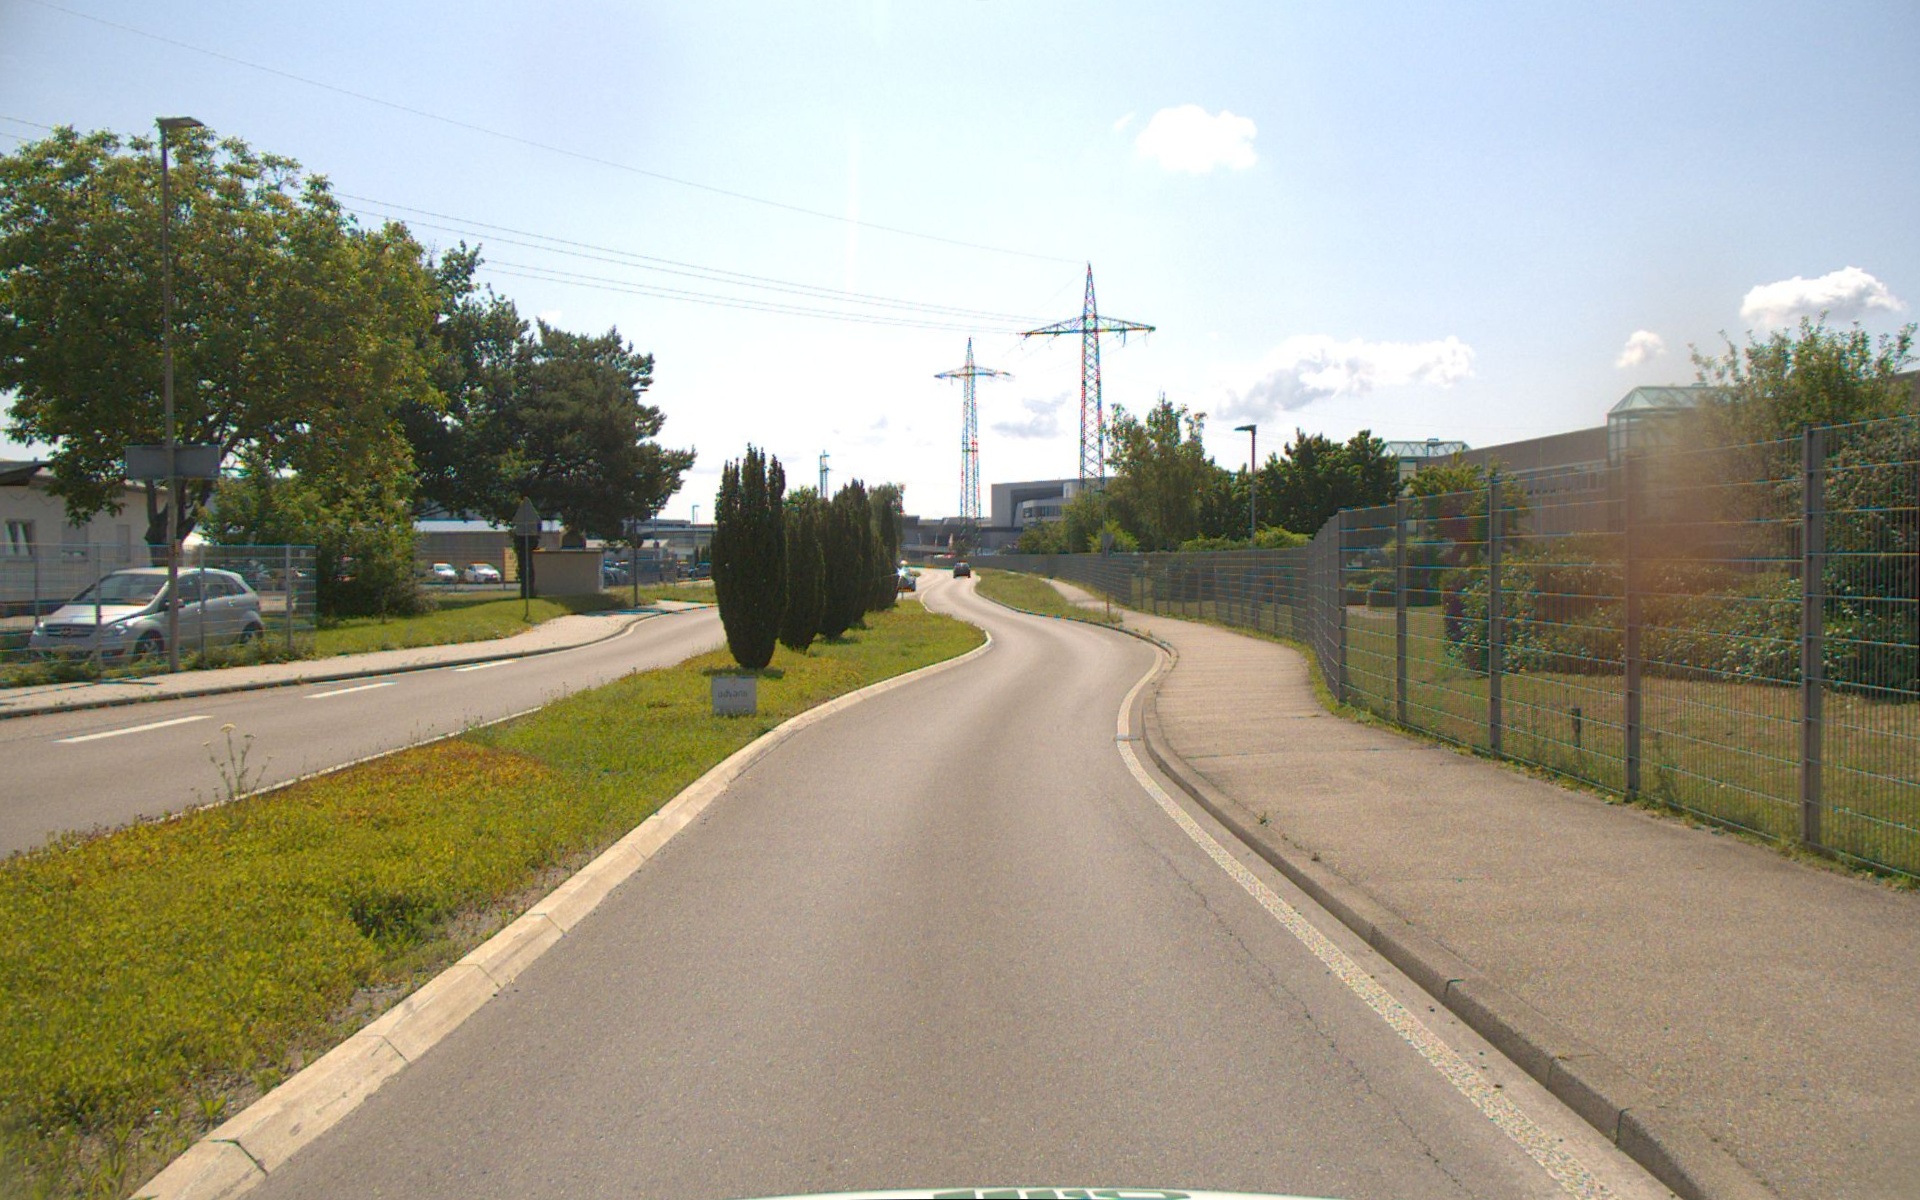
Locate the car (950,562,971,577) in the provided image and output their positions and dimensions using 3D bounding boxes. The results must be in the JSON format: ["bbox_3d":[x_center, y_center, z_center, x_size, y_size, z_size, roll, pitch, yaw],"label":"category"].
[{"bbox_3d":[0.037,-3.194,171.611,1.971,1.534,3.999,0,1,-2],"label":"car"}]

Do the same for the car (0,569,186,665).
[{"bbox_3d":[-14.676,0.238,27.396,1.953,1.467,3.998,0,1,-3],"label":"car"}]

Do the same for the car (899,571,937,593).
[{"bbox_3d":[-2.723,-1.205,108.598,1.859,1.418,4.869,0,1,6],"label":"car"}]

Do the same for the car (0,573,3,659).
[{"bbox_3d":[-17.418,0.309,26.525,1.954,1.467,3.998,0,1,-3],"label":"car"}]

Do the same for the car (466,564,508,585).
[{"bbox_3d":[-34.936,-1.913,122.102,1.973,1.512,4.204,-1,2,-31],"label":"car"}]
